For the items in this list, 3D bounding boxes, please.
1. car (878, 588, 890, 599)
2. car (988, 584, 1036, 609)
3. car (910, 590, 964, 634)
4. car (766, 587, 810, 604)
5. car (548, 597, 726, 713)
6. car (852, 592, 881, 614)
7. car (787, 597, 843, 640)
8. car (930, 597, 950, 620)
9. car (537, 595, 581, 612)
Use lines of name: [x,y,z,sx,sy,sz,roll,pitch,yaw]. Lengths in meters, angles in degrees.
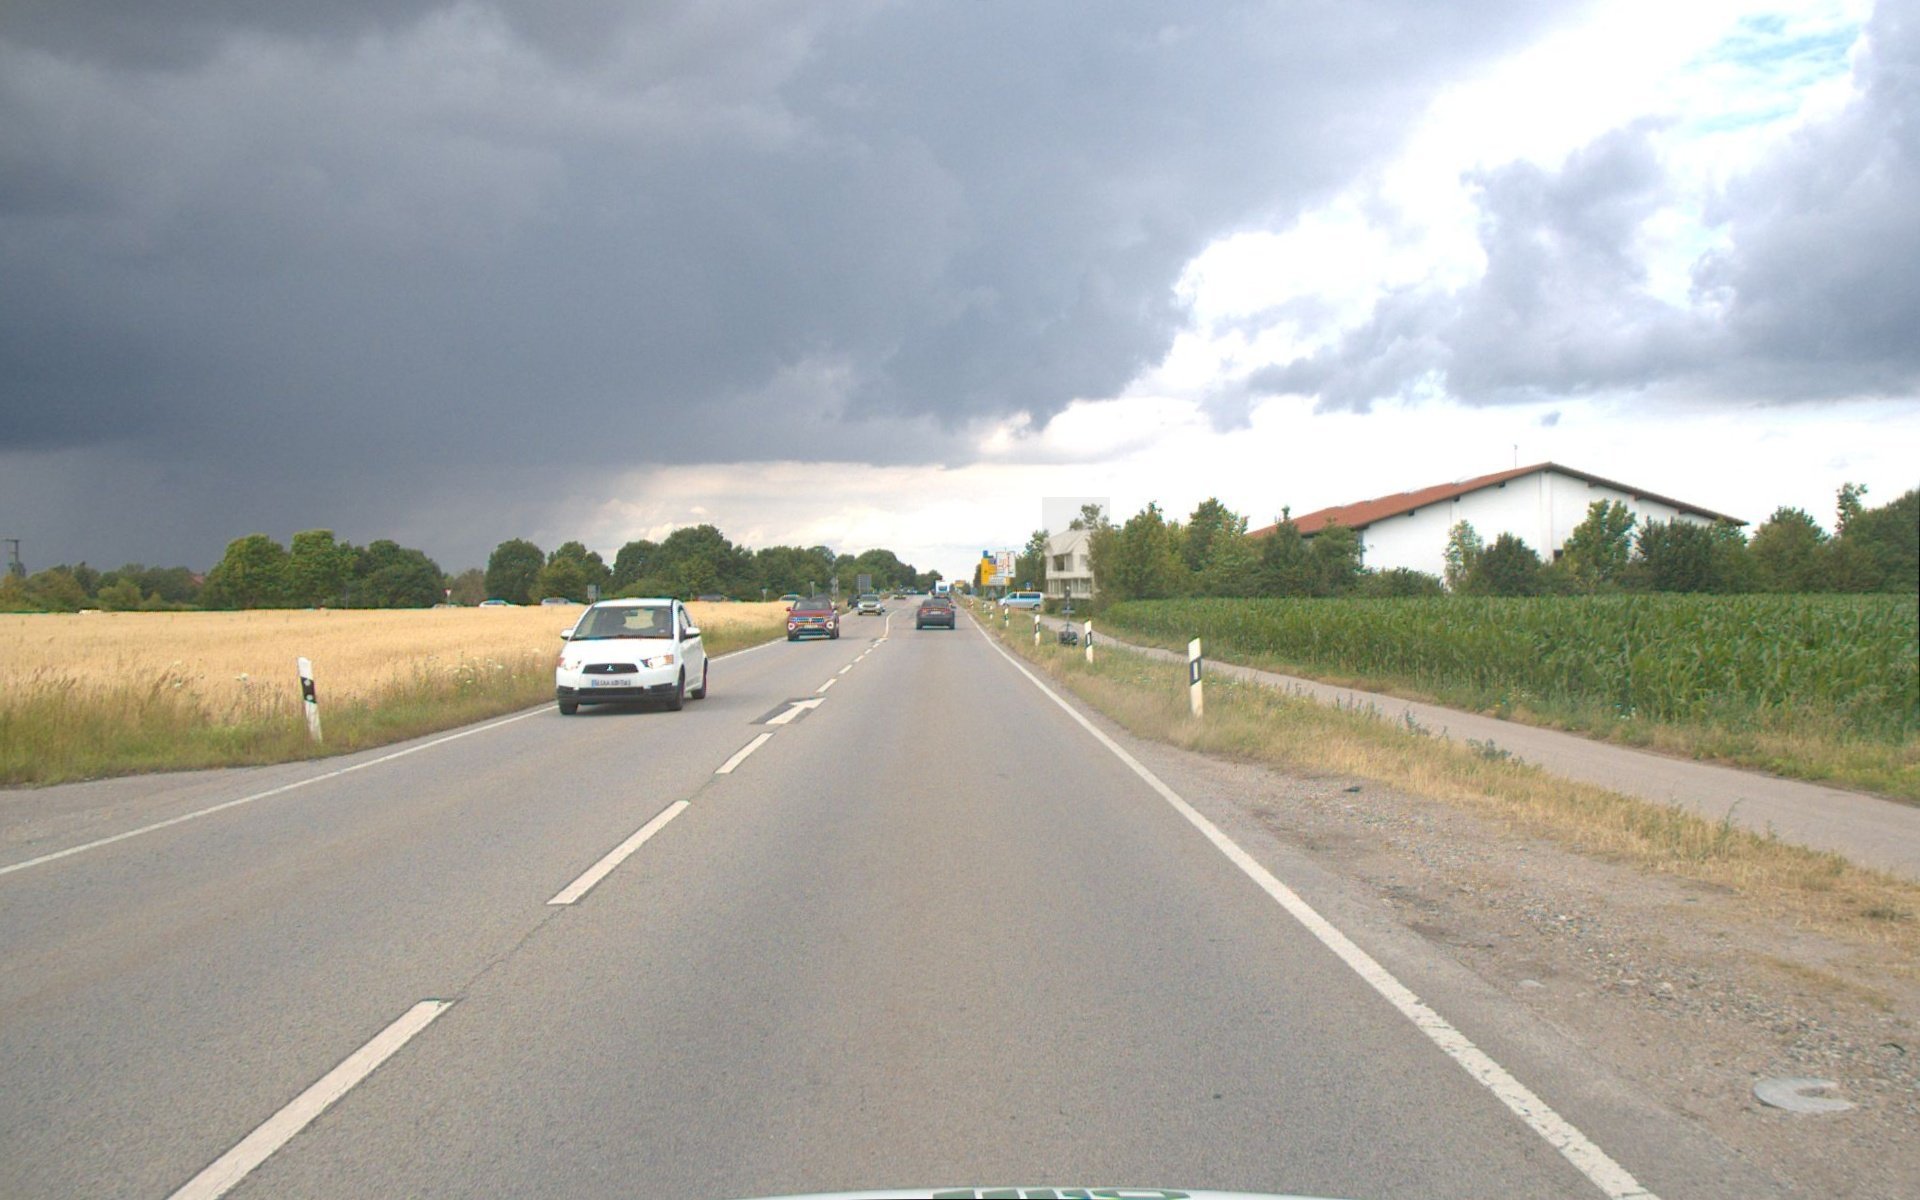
car: [-11.453,-1.026,249.377,1.612,1.618,4.000,-1,0,0]
car: [5.402,-0.358,171.492,4.740,2.495,2.004,-1,0,-4]
car: [-1.142,0.544,78.411,2.325,1.913,4.475,-2,0,-3]
car: [-17.399,-0.438,167.380,4.327,1.678,1.500,-1,0,-6]
car: [-4.485,0.709,23.537,1.769,1.482,4.113,-1,0,-1]
car: [-7.478,0.235,132.794,2.023,1.608,4.764,-2,0,-1]
car: [-5.327,0.647,61.225,1.677,1.514,4.607,-1,0,-1]
car: [-1.578,0.641,129.528,1.539,1.731,3.999,0,0,-1]
car: [-40.869,0.371,168.601,3.986,1.678,1.867,-1,0,3]
